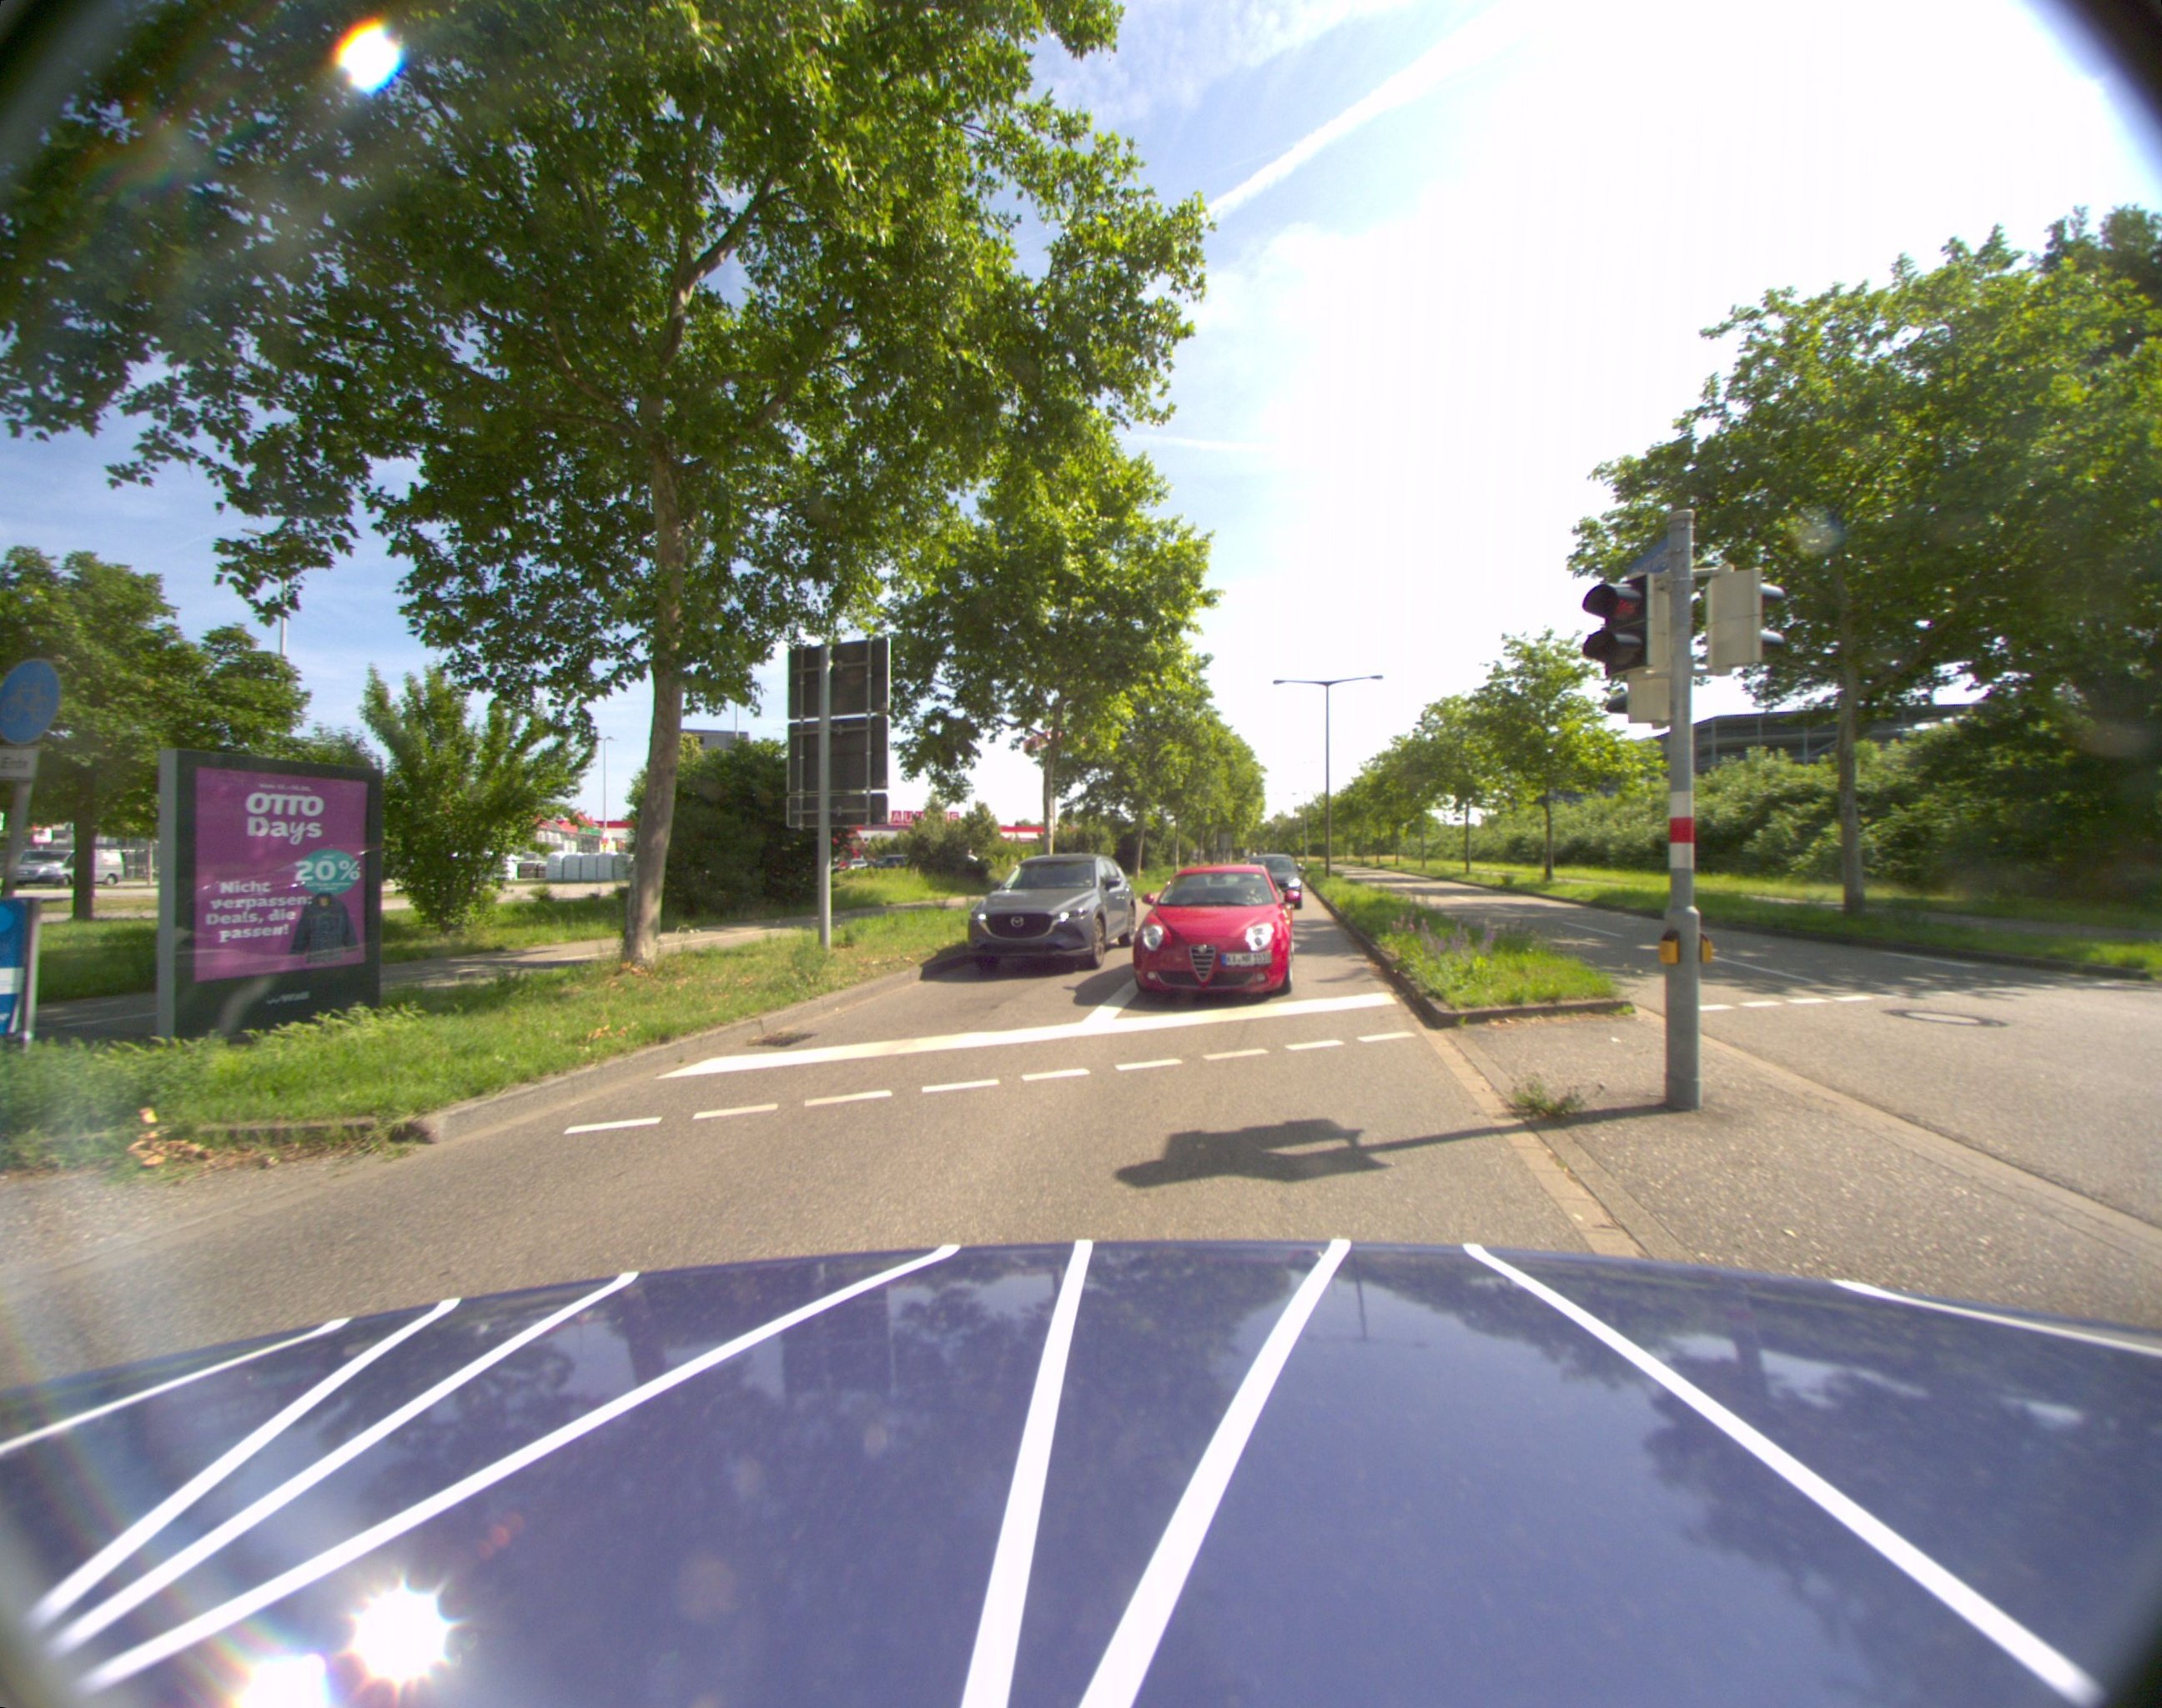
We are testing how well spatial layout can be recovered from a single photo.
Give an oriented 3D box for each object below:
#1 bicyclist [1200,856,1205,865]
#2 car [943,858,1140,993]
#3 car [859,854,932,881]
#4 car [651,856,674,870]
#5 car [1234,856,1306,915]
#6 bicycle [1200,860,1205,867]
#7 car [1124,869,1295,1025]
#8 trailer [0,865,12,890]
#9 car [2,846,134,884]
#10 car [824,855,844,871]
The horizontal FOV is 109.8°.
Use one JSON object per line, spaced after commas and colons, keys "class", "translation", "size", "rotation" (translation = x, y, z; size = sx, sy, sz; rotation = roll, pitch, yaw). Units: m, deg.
{"class": "bicyclist", "translation": [21.590, 1.183, 134.937], "size": [0.686, 1.622, 1.003], "rotation": [0, 1, 15]}
{"class": "car", "translation": [-0.365, 0.934, 11.891], "size": [1.768, 1.649, 4.501], "rotation": [-2, 0, 14]}
{"class": "car", "translation": [-11.180, 0.787, 45.909], "size": [3.856, 1.576, 1.851], "rotation": [0, 1, 8]}
{"class": "car", "translation": [-47.650, 0.982, 86.515], "size": [1.692, 1.565, 3.992], "rotation": [0, 0, -21]}
{"class": "car", "translation": [5.647, 0.870, 22.570], "size": [1.872, 1.536, 4.086], "rotation": [-1, 0, 15]}
{"class": "bicycle", "translation": [21.581, 1.727, 134.914], "size": [0.686, 1.230, 1.936], "rotation": [0, 1, 15]}
{"class": "car", "translation": [1.773, 0.978, 9.521], "size": [1.656, 1.430, 3.912], "rotation": [-2, 0, 15]}
{"class": "trailer", "translation": [-50.601, 1.081, 33.183], "size": [4.035, 1.116, 2.065], "rotation": [0, 2, -19]}
{"class": "car", "translation": [-52.178, 0.569, 39.301], "size": [1.877, 1.805, 4.822], "rotation": [1, -1, -23]}
{"class": "car", "translation": [-24.884, 0.908, 76.414], "size": [1.692, 1.565, 3.992], "rotation": [0, 0, -21]}
